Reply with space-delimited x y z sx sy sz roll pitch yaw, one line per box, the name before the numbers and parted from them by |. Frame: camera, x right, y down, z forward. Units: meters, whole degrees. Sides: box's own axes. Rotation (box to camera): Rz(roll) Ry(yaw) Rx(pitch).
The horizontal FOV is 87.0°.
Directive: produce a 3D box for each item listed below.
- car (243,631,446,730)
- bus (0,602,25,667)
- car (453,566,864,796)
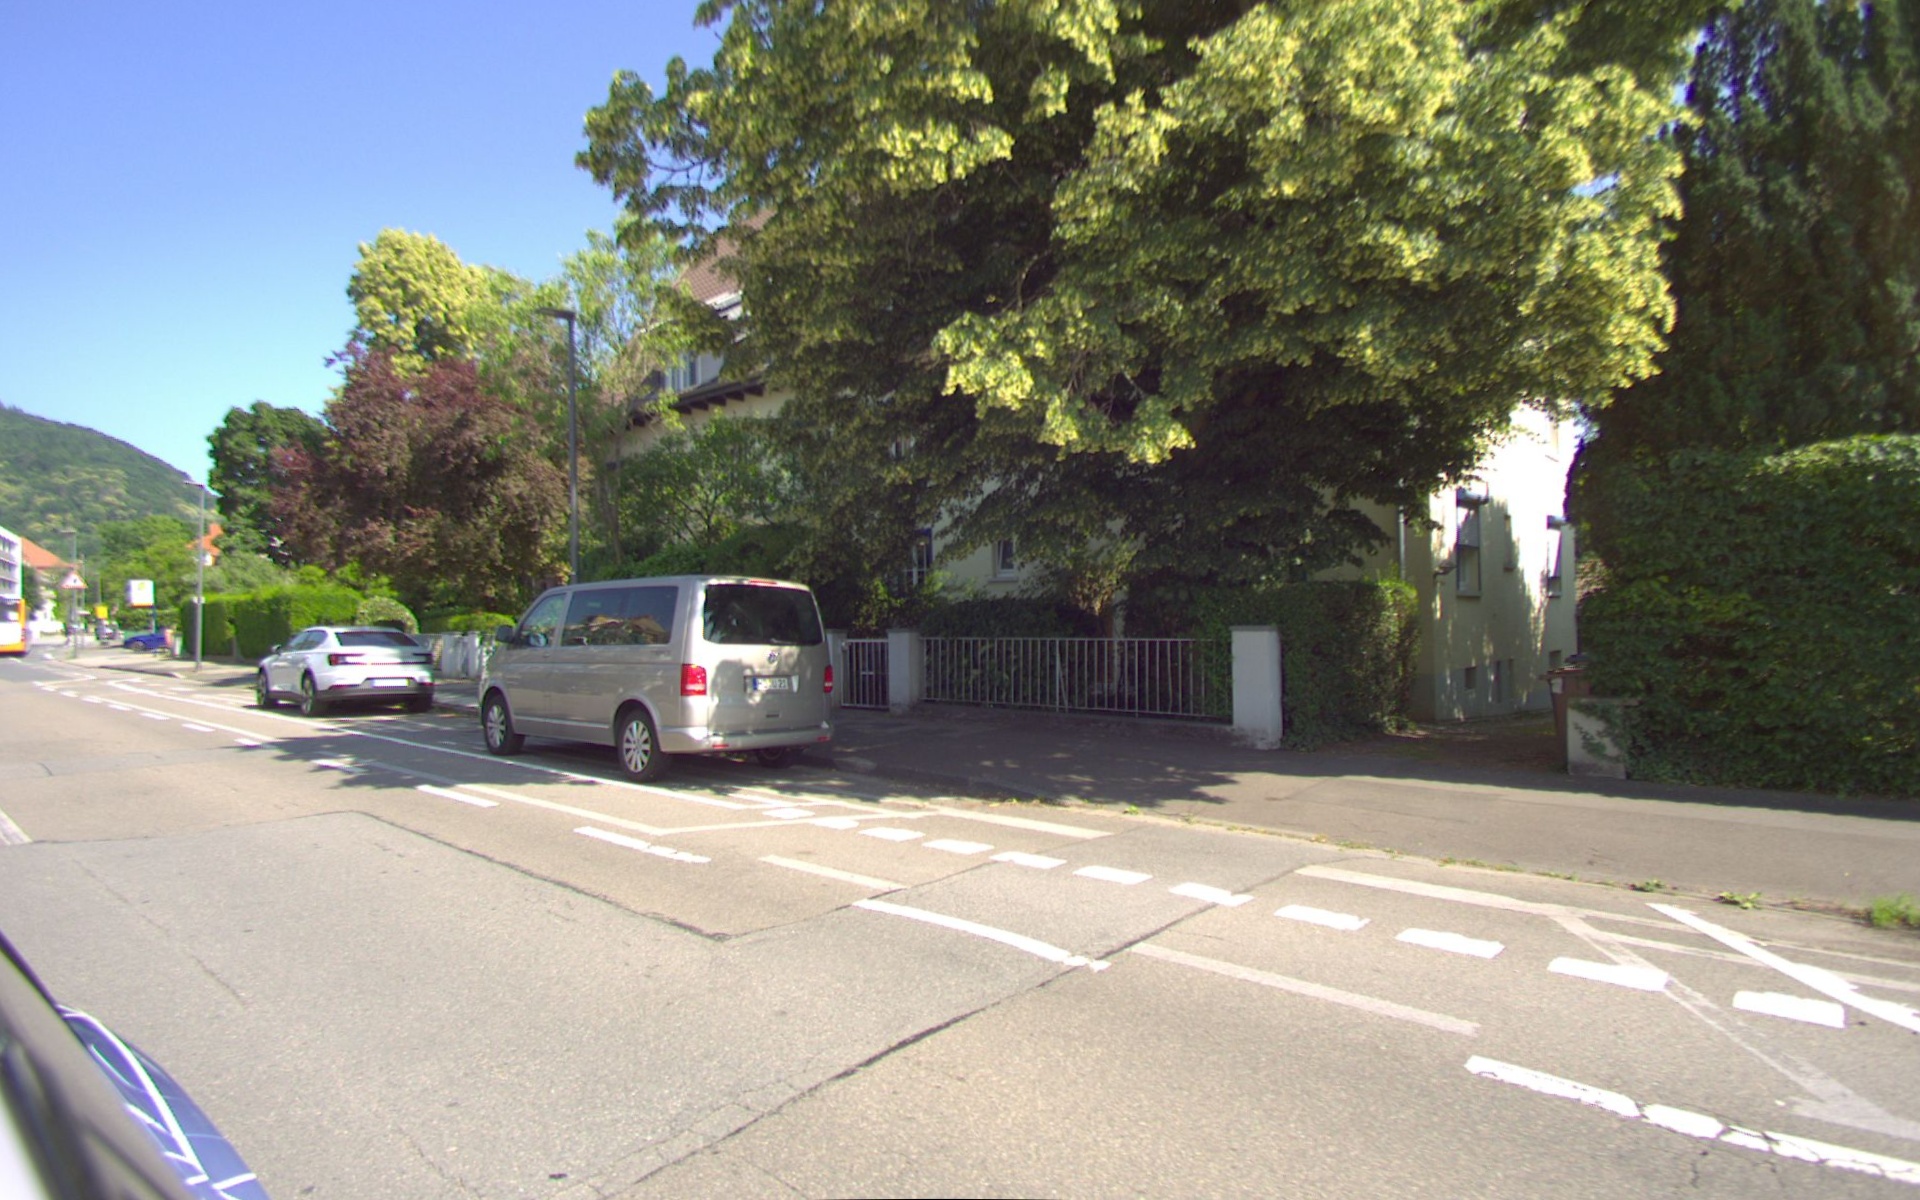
car | -10.814 1.318 17.639 4.561 1.497 1.813 -2 -3 42
bus | -51.586 1.857 53.539 2.713 3.199 9.783 2 -3 -45
car | -3.403 0.777 10.859 4.865 1.934 1.865 -2 -4 41
